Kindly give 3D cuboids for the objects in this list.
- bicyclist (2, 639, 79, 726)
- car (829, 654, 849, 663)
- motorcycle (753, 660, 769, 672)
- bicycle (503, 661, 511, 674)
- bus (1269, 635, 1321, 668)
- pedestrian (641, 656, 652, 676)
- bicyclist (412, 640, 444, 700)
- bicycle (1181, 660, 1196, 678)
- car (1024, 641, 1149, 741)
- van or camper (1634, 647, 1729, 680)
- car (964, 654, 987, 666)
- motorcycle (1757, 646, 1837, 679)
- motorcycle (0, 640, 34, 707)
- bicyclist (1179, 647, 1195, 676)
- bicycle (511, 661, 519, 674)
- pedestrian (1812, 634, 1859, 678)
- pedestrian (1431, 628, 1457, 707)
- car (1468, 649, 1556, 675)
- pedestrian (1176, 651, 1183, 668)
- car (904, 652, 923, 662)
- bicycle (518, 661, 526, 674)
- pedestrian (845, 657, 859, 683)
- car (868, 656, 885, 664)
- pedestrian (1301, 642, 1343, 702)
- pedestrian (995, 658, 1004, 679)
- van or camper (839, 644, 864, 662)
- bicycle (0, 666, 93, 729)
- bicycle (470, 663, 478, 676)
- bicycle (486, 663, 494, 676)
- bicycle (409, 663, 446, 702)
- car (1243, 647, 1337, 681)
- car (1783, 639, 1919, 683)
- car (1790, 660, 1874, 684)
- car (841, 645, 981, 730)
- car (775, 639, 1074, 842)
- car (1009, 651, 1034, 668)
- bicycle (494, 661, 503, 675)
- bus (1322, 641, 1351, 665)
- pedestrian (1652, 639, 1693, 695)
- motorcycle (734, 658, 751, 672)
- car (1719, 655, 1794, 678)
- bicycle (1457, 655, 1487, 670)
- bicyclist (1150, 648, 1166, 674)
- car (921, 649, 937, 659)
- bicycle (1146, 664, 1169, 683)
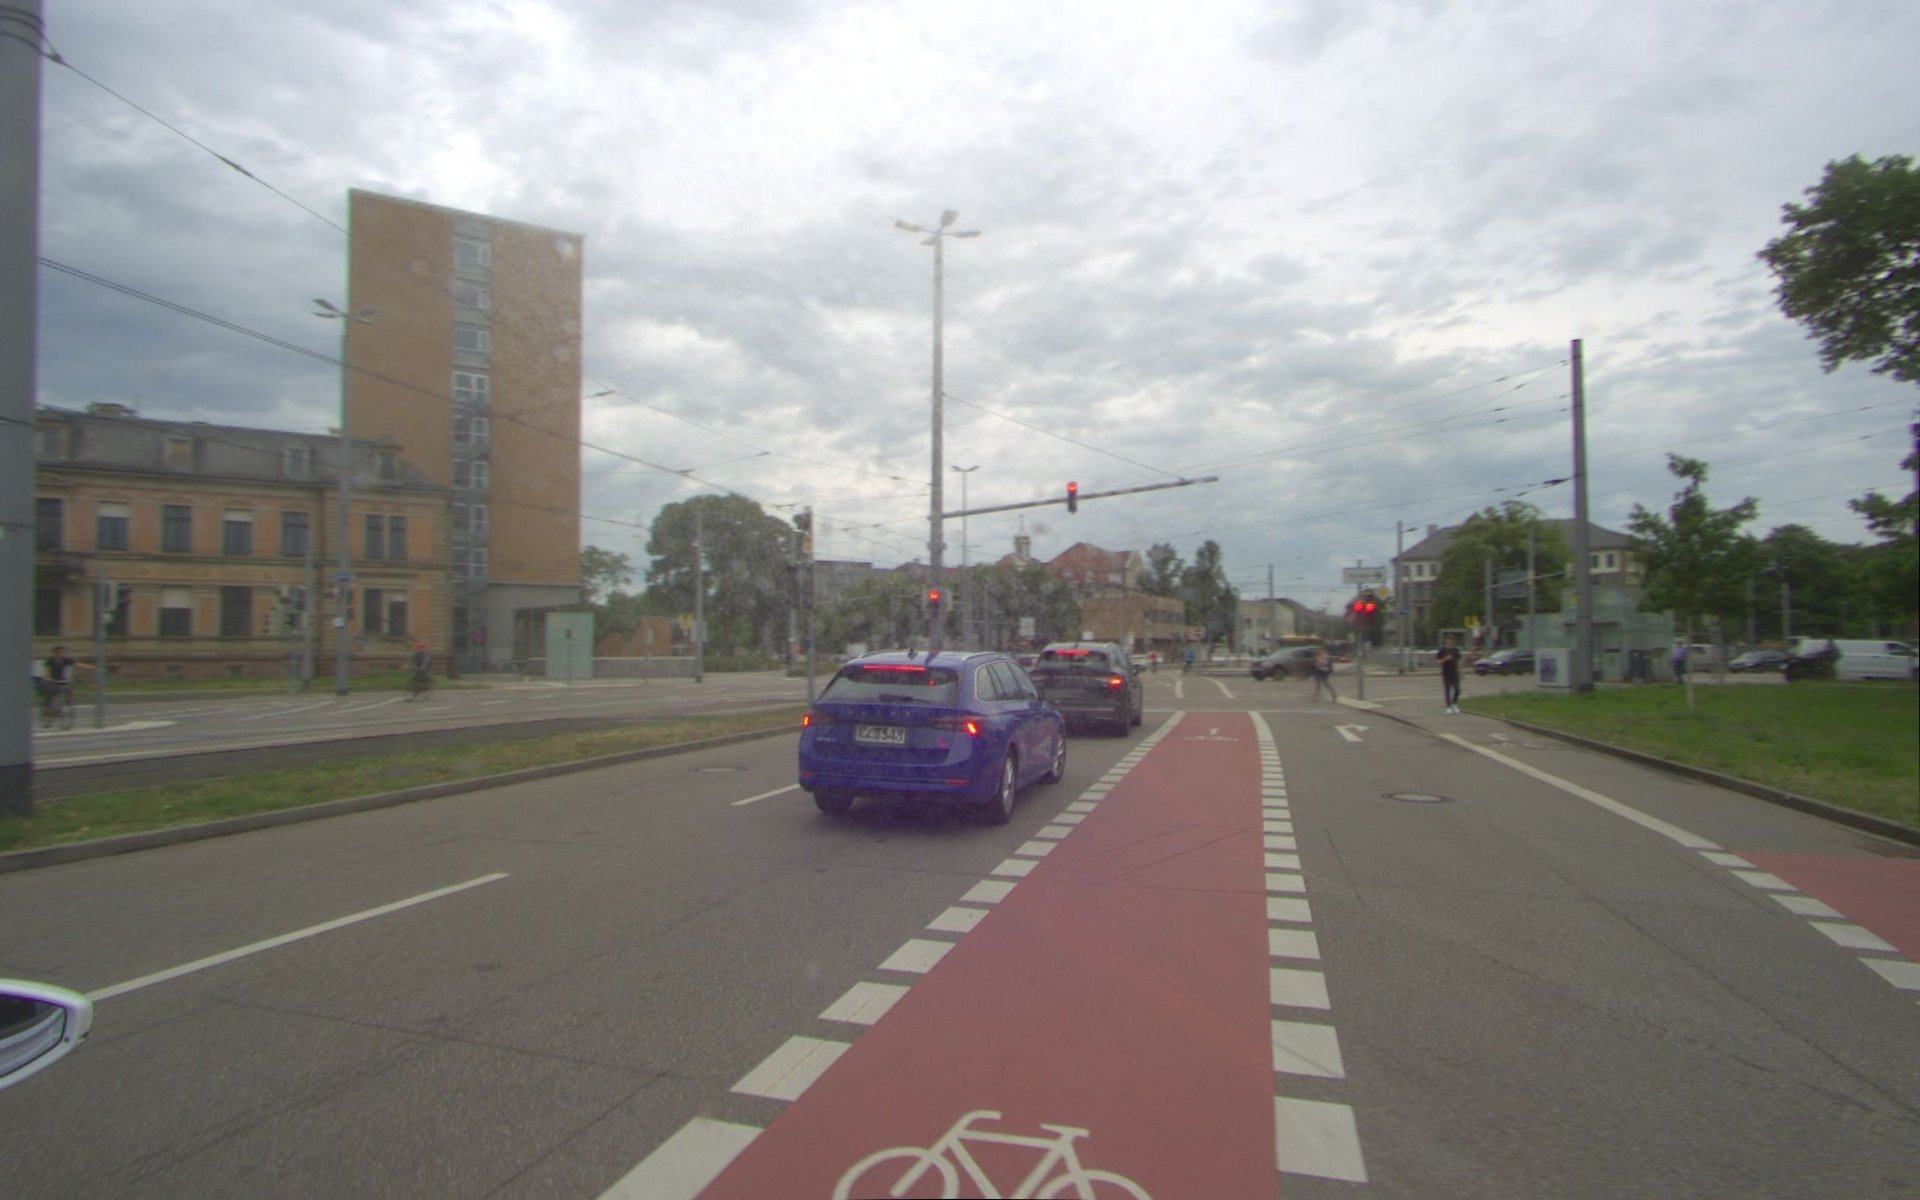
[{"bbox_3d":[-19.707,1.749,21.469,1.011,1.821,0.815,-1,-1,17],"label":"bicyclist"},{"bbox_3d":[-20.578,9.964,170.017,1.758,1.482,3.978,2,-3,-33],"label":"car"},{"bbox_3d":[-18.642,6.165,93.939,0.504,1.125,1.738,-1,-3,28],"label":"motorcycle"},{"bbox_3d":[-37.595,5.632,83.148,0.502,1.062,1.423,1,-3,-27],"label":"bicycle"},{"bbox_3d":[34.483,5.306,102.668,2.926,3.162,11.494,-2,-3,29],"label":"bus"},{"bbox_3d":[-20.908,4.390,66.880,0.566,1.352,0.496,2,-3,-35],"label":"pedestrian"},{"bbox_3d":[-17.637,2.307,33.183,0.821,1.915,1.042,0,-3,-35],"label":"bicyclist"},{"bbox_3d":[14.896,4.475,65.359,0.852,1.118,2.302,0,-3,10],"label":"bicycle"},{"bbox_3d":[2.470,1.594,18.567,1.750,1.616,4.508,0,-3,14],"label":"car"},{"bbox_3d":[46.023,4.054,63.933,5.065,2.038,2.194,1,-4,-16],"label":"van or camper"},{"bbox_3d":[1.930,7.599,126.759,1.750,1.482,3.994,1,-3,-17],"label":"car"},{"bbox_3d":[30.275,2.260,36.228,2.340,1.183,0.767,1,-2,-5],"label":"motorcycle"},{"bbox_3d":[-30.917,2.234,30.459,3.631,2.038,1.690,1,-3,-27],"label":"motorcycle"},{"bbox_3d":[14.804,4.026,65.378,0.857,1.874,1.048,-2,-3,10],"label":"bicyclist"},{"bbox_3d":[-37.101,5.630,83.473,0.475,1.062,1.423,1,-3,-27],"label":"bicycle"},{"bbox_3d":[36.434,2.338,41.665,0.930,1.819,1.087,1,-4,-16],"label":"pedestrian"},{"bbox_3d":[11.618,1.611,24.030,0.528,1.867,0.984,-1,-2,27],"label":"pedestrian"},{"bbox_3d":[30.284,3.390,54.951,4.315,1.413,1.696,1,-3,-17],"label":"car"},{"bbox_3d":[25.719,6.980,117.326,0.612,1.942,0.710,-1,-2,19],"label":"pedestrian"},{"bbox_3d":[-7.539,9.192,161.258,1.753,1.482,3.988,1,-3,-23],"label":"car"},{"bbox_3d":[-36.638,5.629,83.717,0.475,1.062,1.423,1,-3,-27],"label":"bicycle"},{"bbox_3d":[-8.377,5.431,77.781,1.011,1.958,0.701,0,-2,-10],"label":"pedestrian"},{"bbox_3d":[-15.005,10.767,179.971,1.756,1.482,3.983,2,-3,-28],"label":"car"},{"bbox_3d":[11.775,2.336,32.553,1.088,1.930,0.733,2,-3,-27],"label":"pedestrian"},{"bbox_3d":[2.915,5.019,73.735,0.715,1.561,0.418,0,-2,3],"label":"pedestrian"},{"bbox_3d":[-19.822,9.707,182.533,2.364,3.163,5.473,2,-3,-33],"label":"van or camper"},{"bbox_3d":[-19.722,2.090,21.463,1.964,1.258,0.815,-2,-2,17],"label":"bicycle"},{"bbox_3d":[-39.790,5.682,81.928,0.564,1.119,1.423,1,-3,-27],"label":"bicycle"},{"bbox_3d":[-38.750,5.723,82.494,0.564,1.119,1.423,1,-3,-27],"label":"bicycle"},{"bbox_3d":[-17.696,2.710,33.254,0.816,1.223,2.220,1,-3,-35],"label":"bicycle"},{"bbox_3d":[16.689,3.234,50.715,4.149,1.660,1.804,1,-3,-8],"label":"car"},{"bbox_3d":[43.399,2.950,48.126,5.660,2.037,2.018,-3,-5,33],"label":"car"},{"bbox_3d":[57.713,4.782,66.314,4.392,1.566,1.862,1,-4,-11],"label":"car"},{"bbox_3d":[-0.831,1.628,19.419,1.678,1.466,3.811,0,-3,14],"label":"car"},{"bbox_3d":[-0.061,1.193,9.860,1.752,1.506,4.465,-1,-4,14],"label":"car"},{"bbox_3d":[6.317,6.217,103.945,1.962,1.704,4.004,0,-4,-6],"label":"car"},{"bbox_3d":[-38.177,5.612,82.841,0.564,1.119,1.423,1,-3,-27],"label":"bicycle"},{"bbox_3d":[53.489,7.504,142.102,2.620,3.323,10.962,-1,-3,26],"label":"bus"},{"bbox_3d":[25.555,2.389,35.919,1.004,1.954,0.884,2,-3,-33],"label":"pedestrian"},{"bbox_3d":[-20.050,5.968,92.343,1.452,1.283,0.509,2,-3,-31],"label":"motorcycle"},{"bbox_3d":[52.093,4.367,65.483,3.927,1.481,1.775,1,-4,-14],"label":"car"},{"bbox_3d":[44.967,5.498,88.015,2.231,1.347,0.706,-2,-4,23],"label":"bicycle"},{"bbox_3d":[13.459,4.154,68.024,0.869,1.753,0.895,0,-2,-6],"label":"bicyclist"},{"bbox_3d":[-4.719,8.170,151.311,1.749,1.482,3.998,1,-3,-12],"label":"car"},{"bbox_3d":[13.446,4.994,68.147,0.877,1.193,2.303,1,-3,-6],"label":"bicycle"}]
